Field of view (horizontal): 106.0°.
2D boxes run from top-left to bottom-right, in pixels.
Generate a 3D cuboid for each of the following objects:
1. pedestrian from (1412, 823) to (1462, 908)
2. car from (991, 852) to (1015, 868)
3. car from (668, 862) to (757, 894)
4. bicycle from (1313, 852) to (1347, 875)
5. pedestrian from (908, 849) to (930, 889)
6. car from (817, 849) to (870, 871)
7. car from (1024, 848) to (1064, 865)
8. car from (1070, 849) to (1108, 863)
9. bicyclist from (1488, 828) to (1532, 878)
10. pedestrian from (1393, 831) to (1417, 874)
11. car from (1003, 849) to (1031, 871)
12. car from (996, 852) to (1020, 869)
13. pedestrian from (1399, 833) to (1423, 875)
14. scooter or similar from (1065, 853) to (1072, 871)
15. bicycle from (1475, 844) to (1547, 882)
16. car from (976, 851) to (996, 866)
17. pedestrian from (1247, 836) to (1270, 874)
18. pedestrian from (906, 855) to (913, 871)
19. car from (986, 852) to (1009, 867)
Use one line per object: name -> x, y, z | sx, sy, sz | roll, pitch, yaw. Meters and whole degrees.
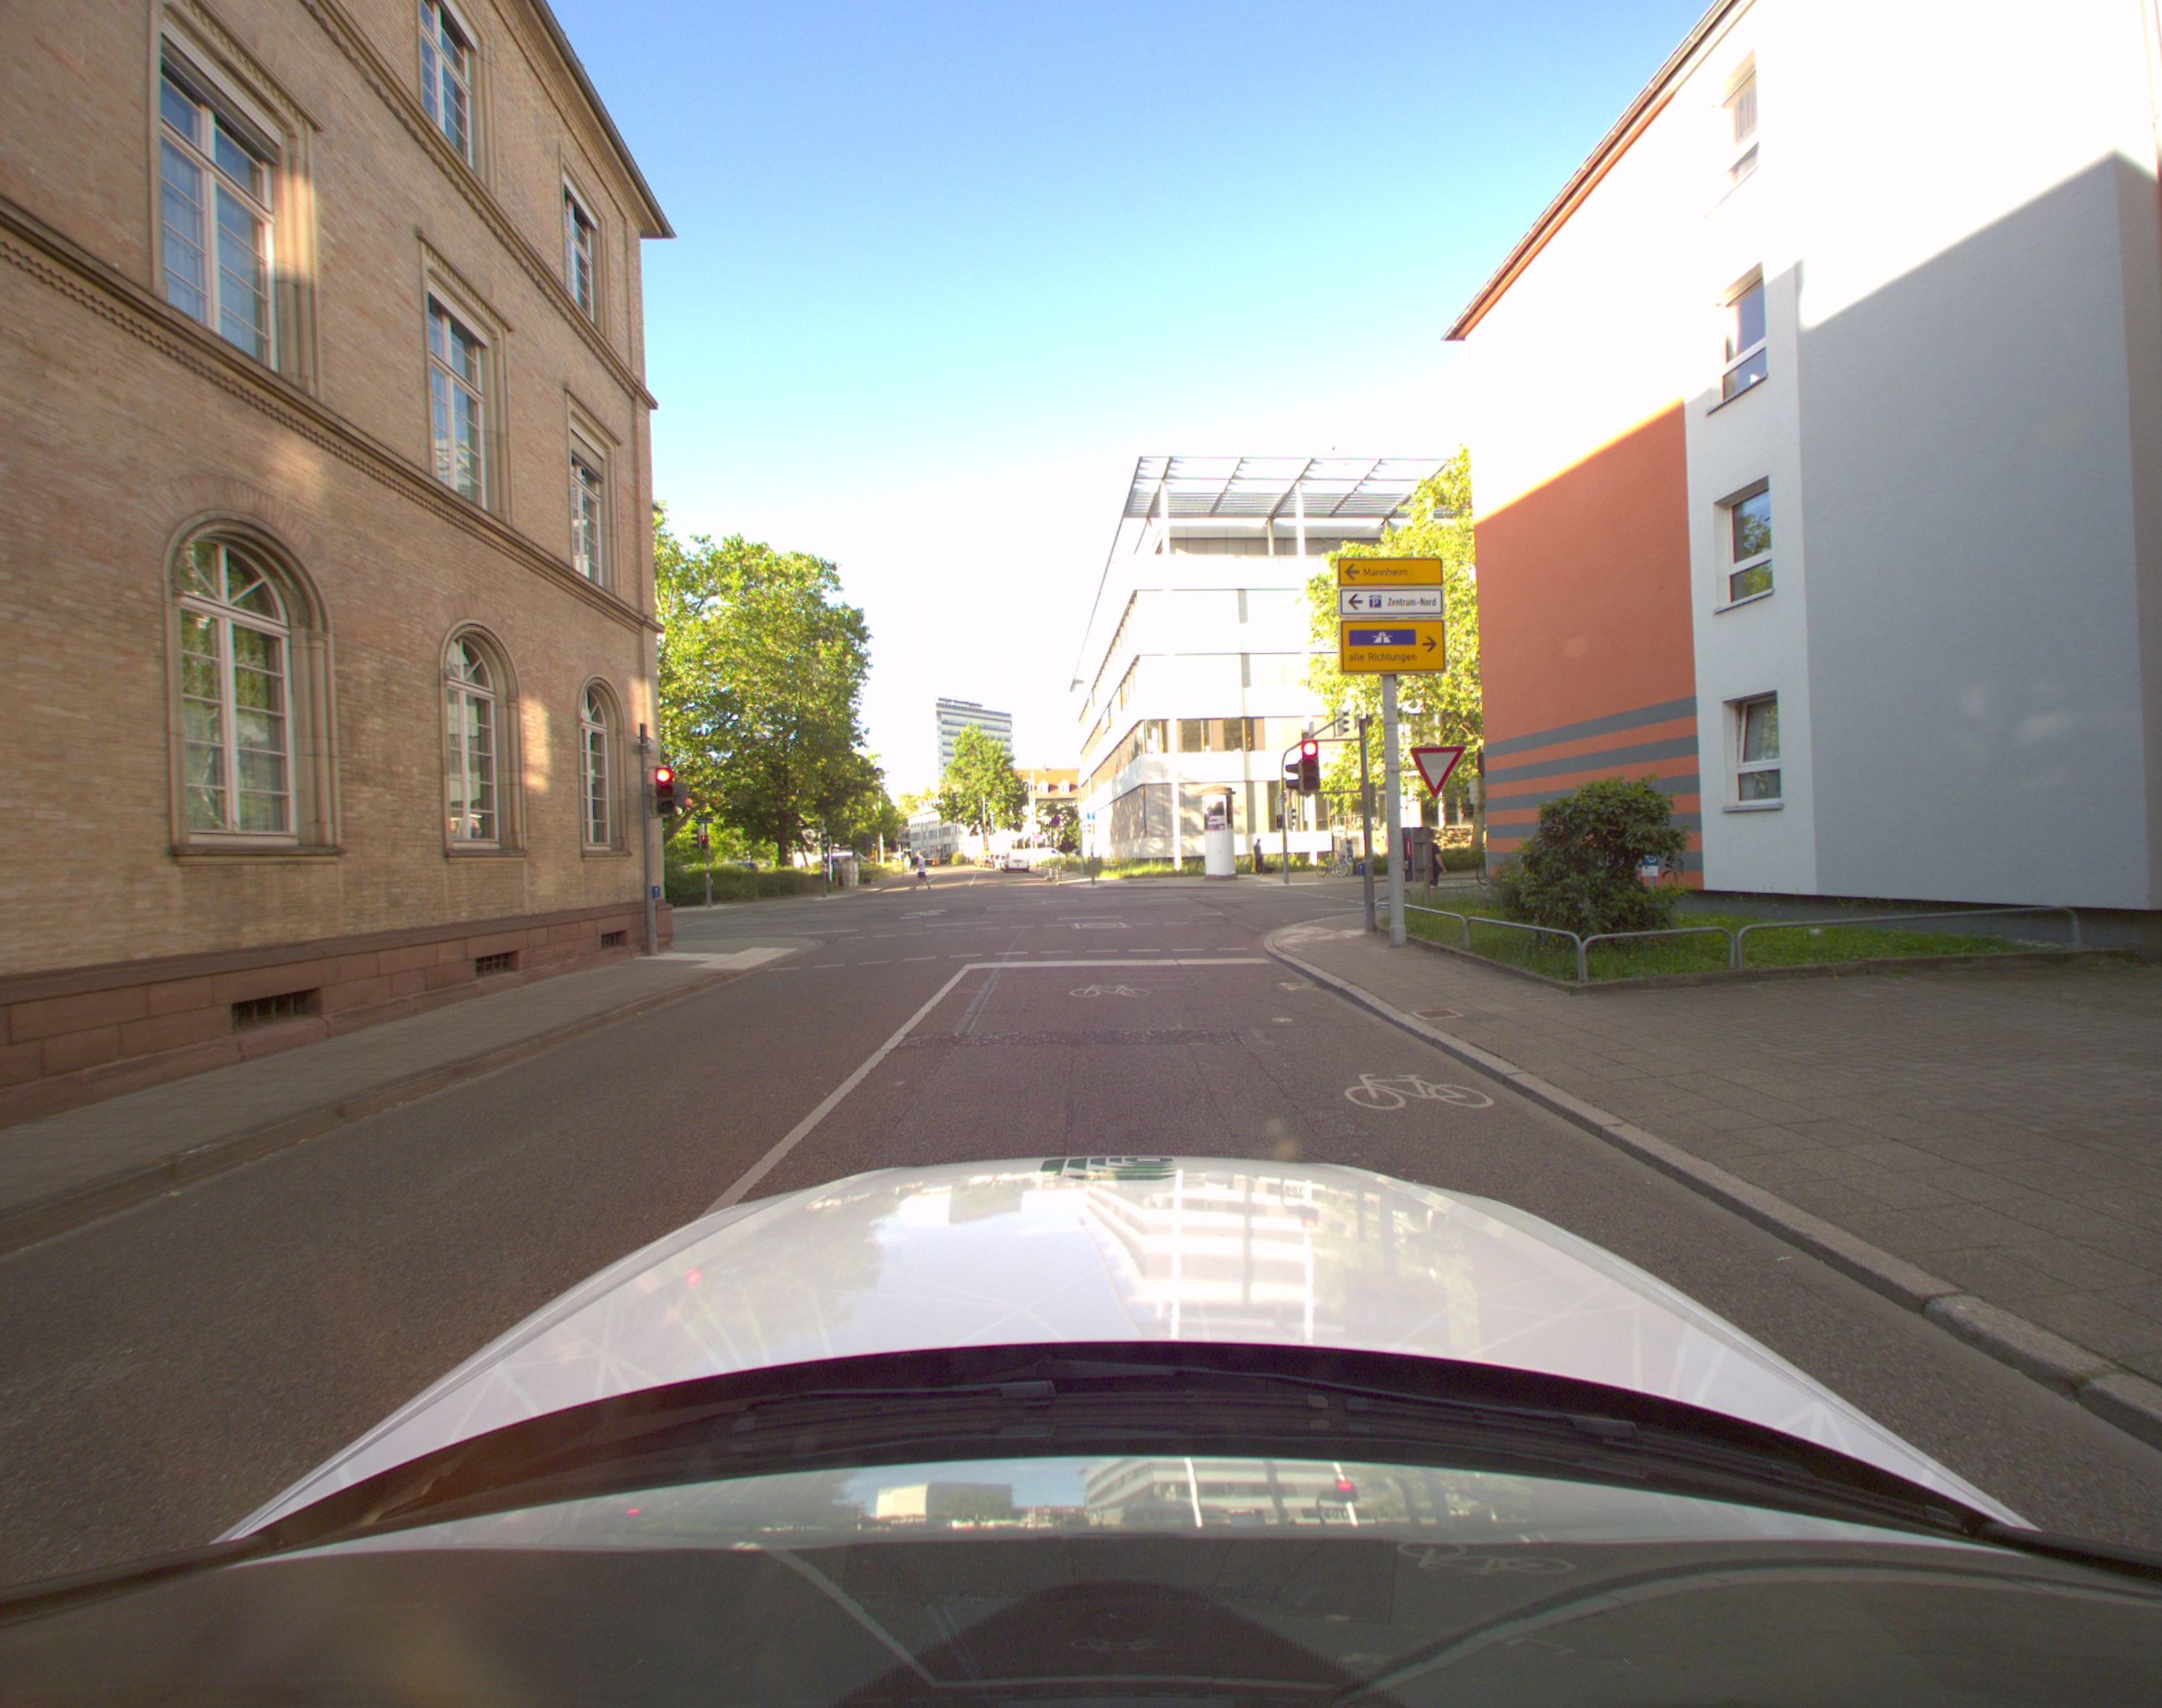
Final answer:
pedestrian -> 7.803, 0.251, 17.838 | 0.722, 1.810, 0.695 | 0, -1, -30
car -> -7.846, 0.602, 81.624 | 1.994, 1.499, 4.270 | 0, -1, -11
car -> -17.085, 1.095, 37.899 | 3.407, 1.457, 1.646 | 0, -1, -8
bicycle -> 11.005, 0.434, 36.025 | 0.381, 1.008, 1.416 | -2, 0, -40
pedestrian -> -7.560, 0.703, 38.031 | 0.912, 1.869, 0.742 | 0, -1, -3
car -> -22.027, 0.540, 75.765 | 4.441, 2.014, 1.995 | 0, -1, -8
car -> -4.687, 0.297, 103.247 | 4.802, 2.159, 1.989 | 0, -1, -16
car -> 1.019, 0.282, 104.953 | 4.644, 1.725, 1.990 | 0, -1, -15
bicyclist -> 13.771, -0.033, 26.156 | 1.069, 1.527, 0.593 | -2, 0, 7
pedestrian -> 13.725, -0.061, 34.505 | 0.761, 1.795, 0.648 | 0, -1, 4
car -> -5.175, 0.481, 65.115 | 1.992, 1.725, 4.640 | 0, -1, -7
car -> -6.923, 0.625, 77.150 | 1.993, 1.499, 4.638 | 0, -1, -8
pedestrian -> 13.708, -0.006, 33.809 | 0.761, 1.719, 0.648 | 0, -1, 4
scooter or similar -> -0.916, 0.593, 58.473 | 0.436, 1.256, 1.418 | -2, 0, -2
bicycle -> 13.790, 0.282, 26.148 | 1.953, 1.152, 0.593 | -2, 0, 7
car -> -11.304, 0.558, 96.300 | 1.995, 1.725, 4.633 | 0, -1, -11
pedestrian -> 8.486, 0.061, 38.957 | 0.911, 1.815, 0.762 | 0, -1, 1
pedestrian -> -17.168, 0.865, 81.429 | 0.700, 1.587, 0.633 | 0, -1, -14
car -> -8.887, 0.609, 86.377 | 1.994, 1.499, 4.635 | 0, -1, -10
